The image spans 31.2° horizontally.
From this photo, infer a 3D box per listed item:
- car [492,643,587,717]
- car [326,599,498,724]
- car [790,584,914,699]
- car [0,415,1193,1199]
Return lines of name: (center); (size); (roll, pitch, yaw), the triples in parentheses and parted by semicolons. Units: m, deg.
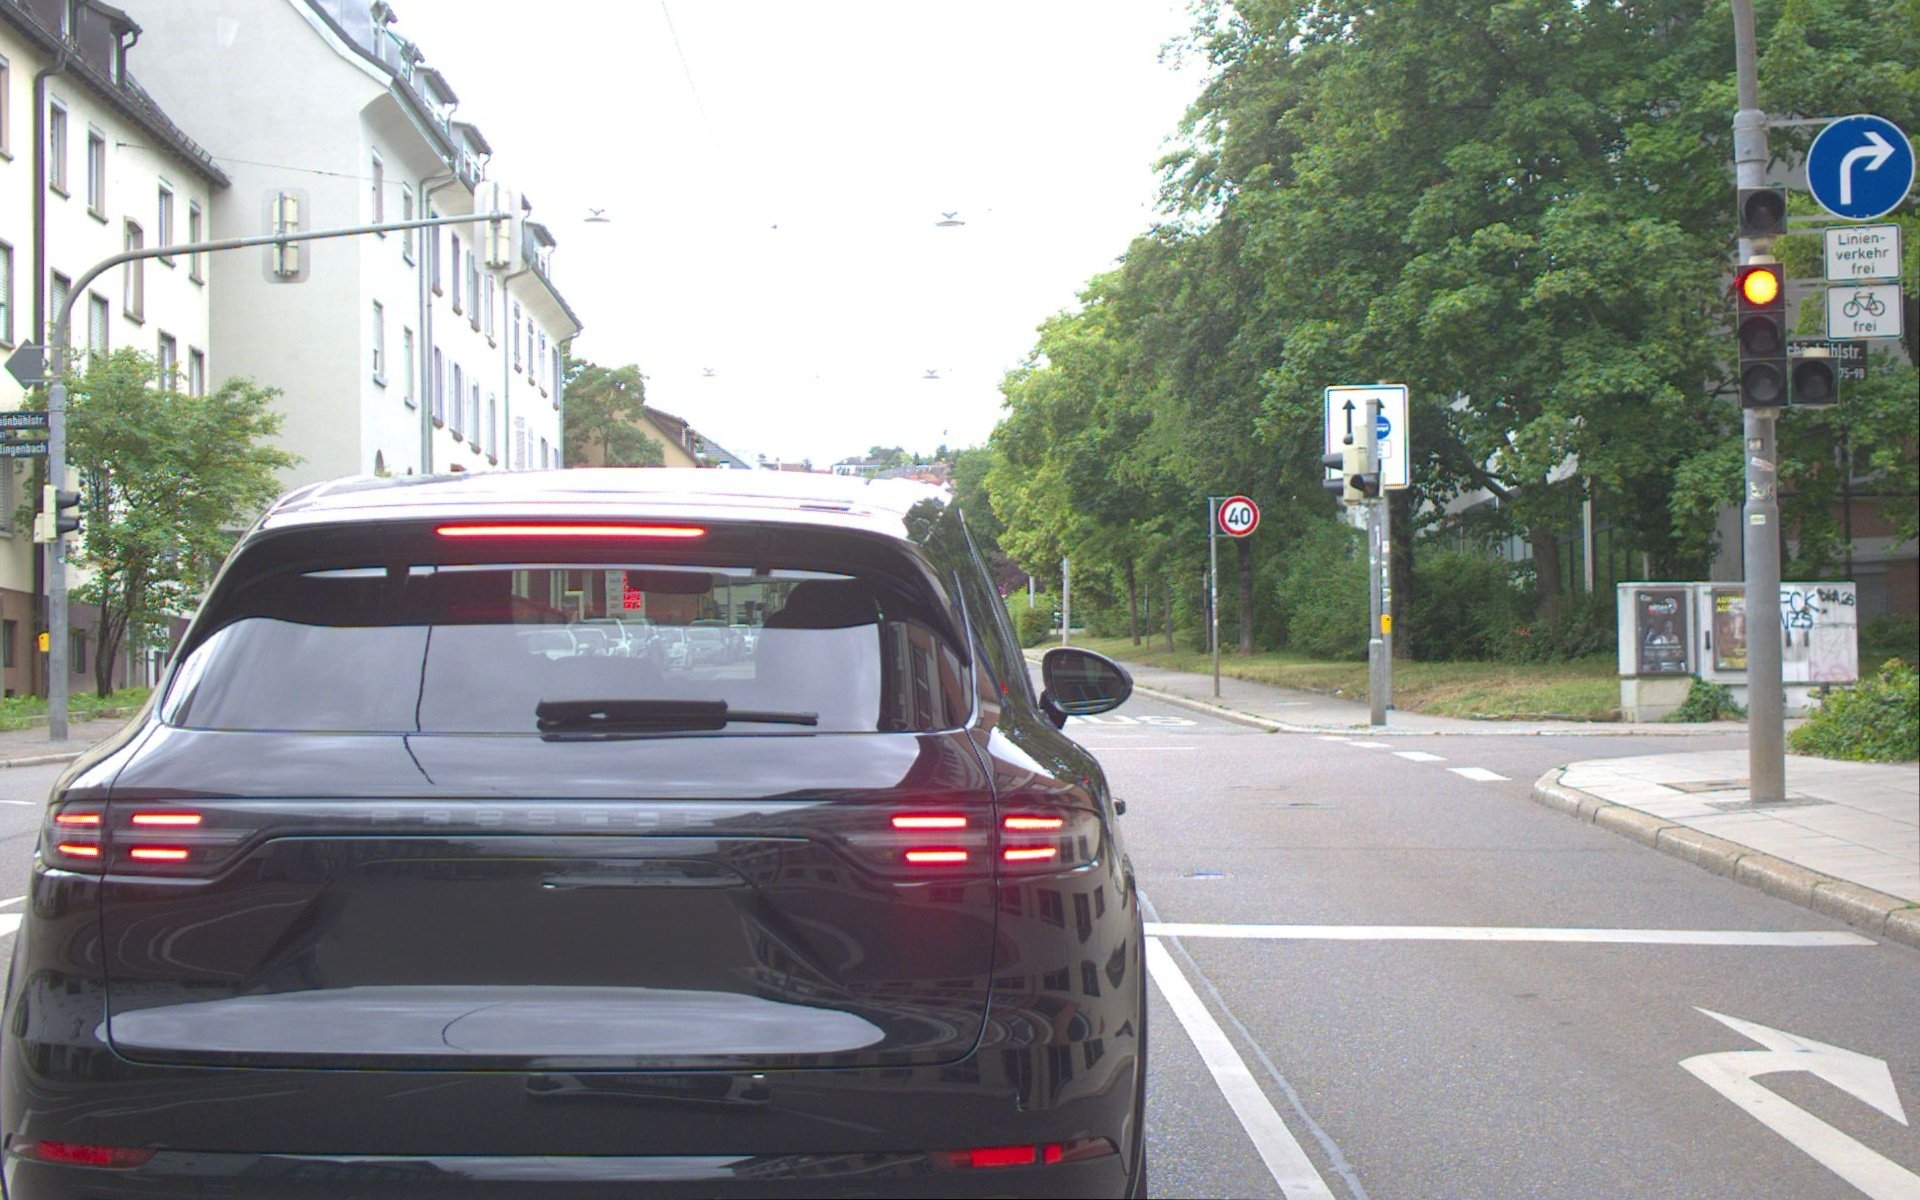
car: (-8.490, 1.599, 69.638); (1.669, 1.357, 4.001); (0, 1, -3)
car: (-7.469, 0.808, 47.162); (1.664, 1.514, 3.740); (-4, 0, 0)
car: (-1.548, 0.562, 49.324); (1.688, 1.547, 3.889); (1, 1, -2)
car: (-0.681, 0.560, 7.143); (1.993, 1.691, 4.000); (1, 1, -1)
